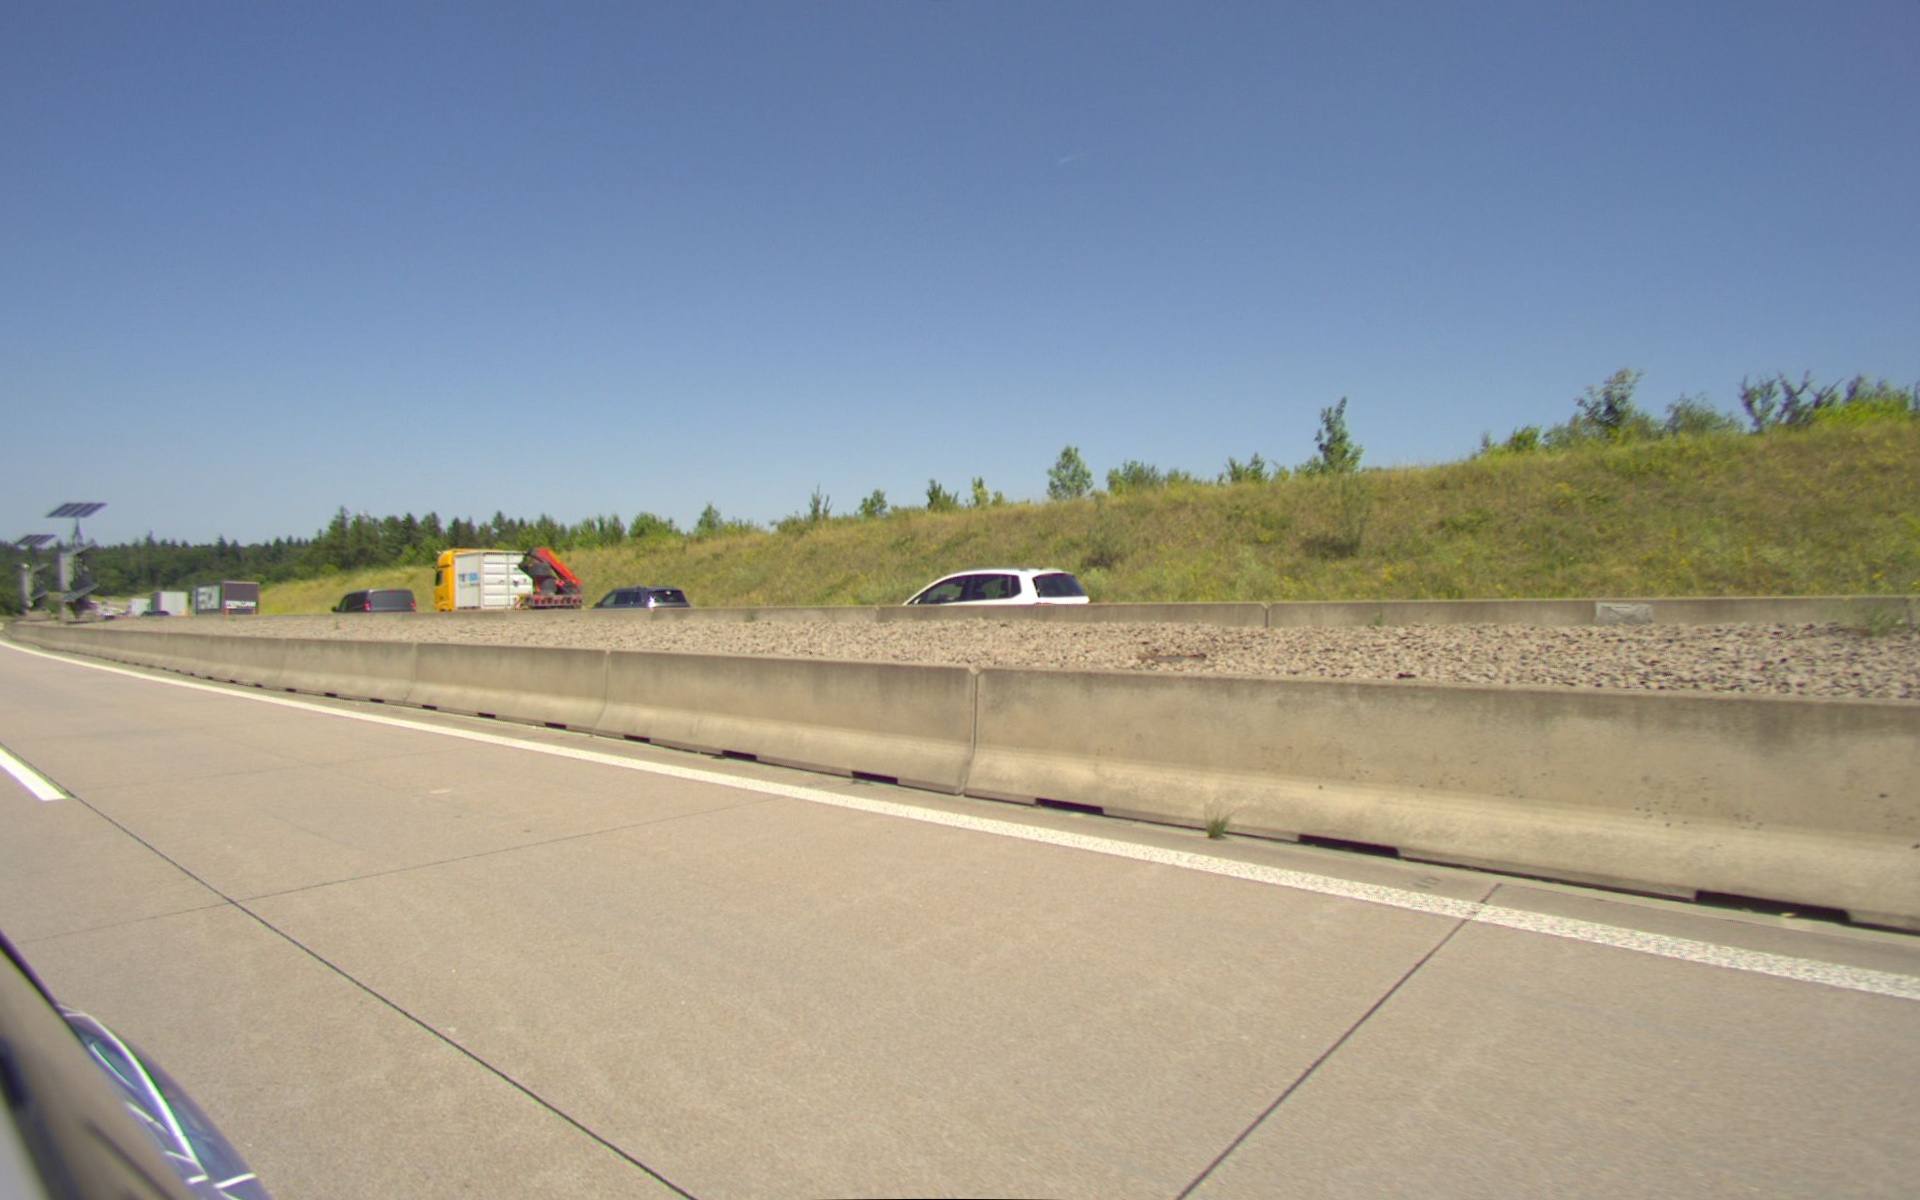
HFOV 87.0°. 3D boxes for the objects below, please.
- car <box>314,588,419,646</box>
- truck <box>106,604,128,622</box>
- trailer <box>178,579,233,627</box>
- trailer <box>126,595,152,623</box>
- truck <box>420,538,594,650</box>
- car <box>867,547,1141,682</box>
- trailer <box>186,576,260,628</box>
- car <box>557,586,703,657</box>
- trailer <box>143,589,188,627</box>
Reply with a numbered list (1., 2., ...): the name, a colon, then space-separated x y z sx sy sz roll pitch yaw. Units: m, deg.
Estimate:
1. car: -22.094 0.623 37.611 4.456 2.029 1.973 -1 -1 40
2. truck: -168.005 2.583 201.723 2.899 3.239 5.910 -3 1 -44
3. trailer: -69.366 0.256 93.008 6.893 4.200 2.901 -1 1 44
4. trailer: -132.244 1.461 162.940 2.897 4.200 14.410 -2 1 -40
5. truck: -20.728 -0.169 45.834 11.255 4.547 2.883 -1 -1 42
6. car: 0.666 0.261 17.445 4.456 2.029 1.973 -1 -1 40
7. trailer: -64.206 0.181 88.010 13.193 4.200 2.901 -1 1 44
8. car: -10.201 0.655 31.141 4.803 2.029 2.258 -1 -1 43
9. trailer: -93.251 0.920 118.669 2.899 4.200 14.402 -2 1 -43
